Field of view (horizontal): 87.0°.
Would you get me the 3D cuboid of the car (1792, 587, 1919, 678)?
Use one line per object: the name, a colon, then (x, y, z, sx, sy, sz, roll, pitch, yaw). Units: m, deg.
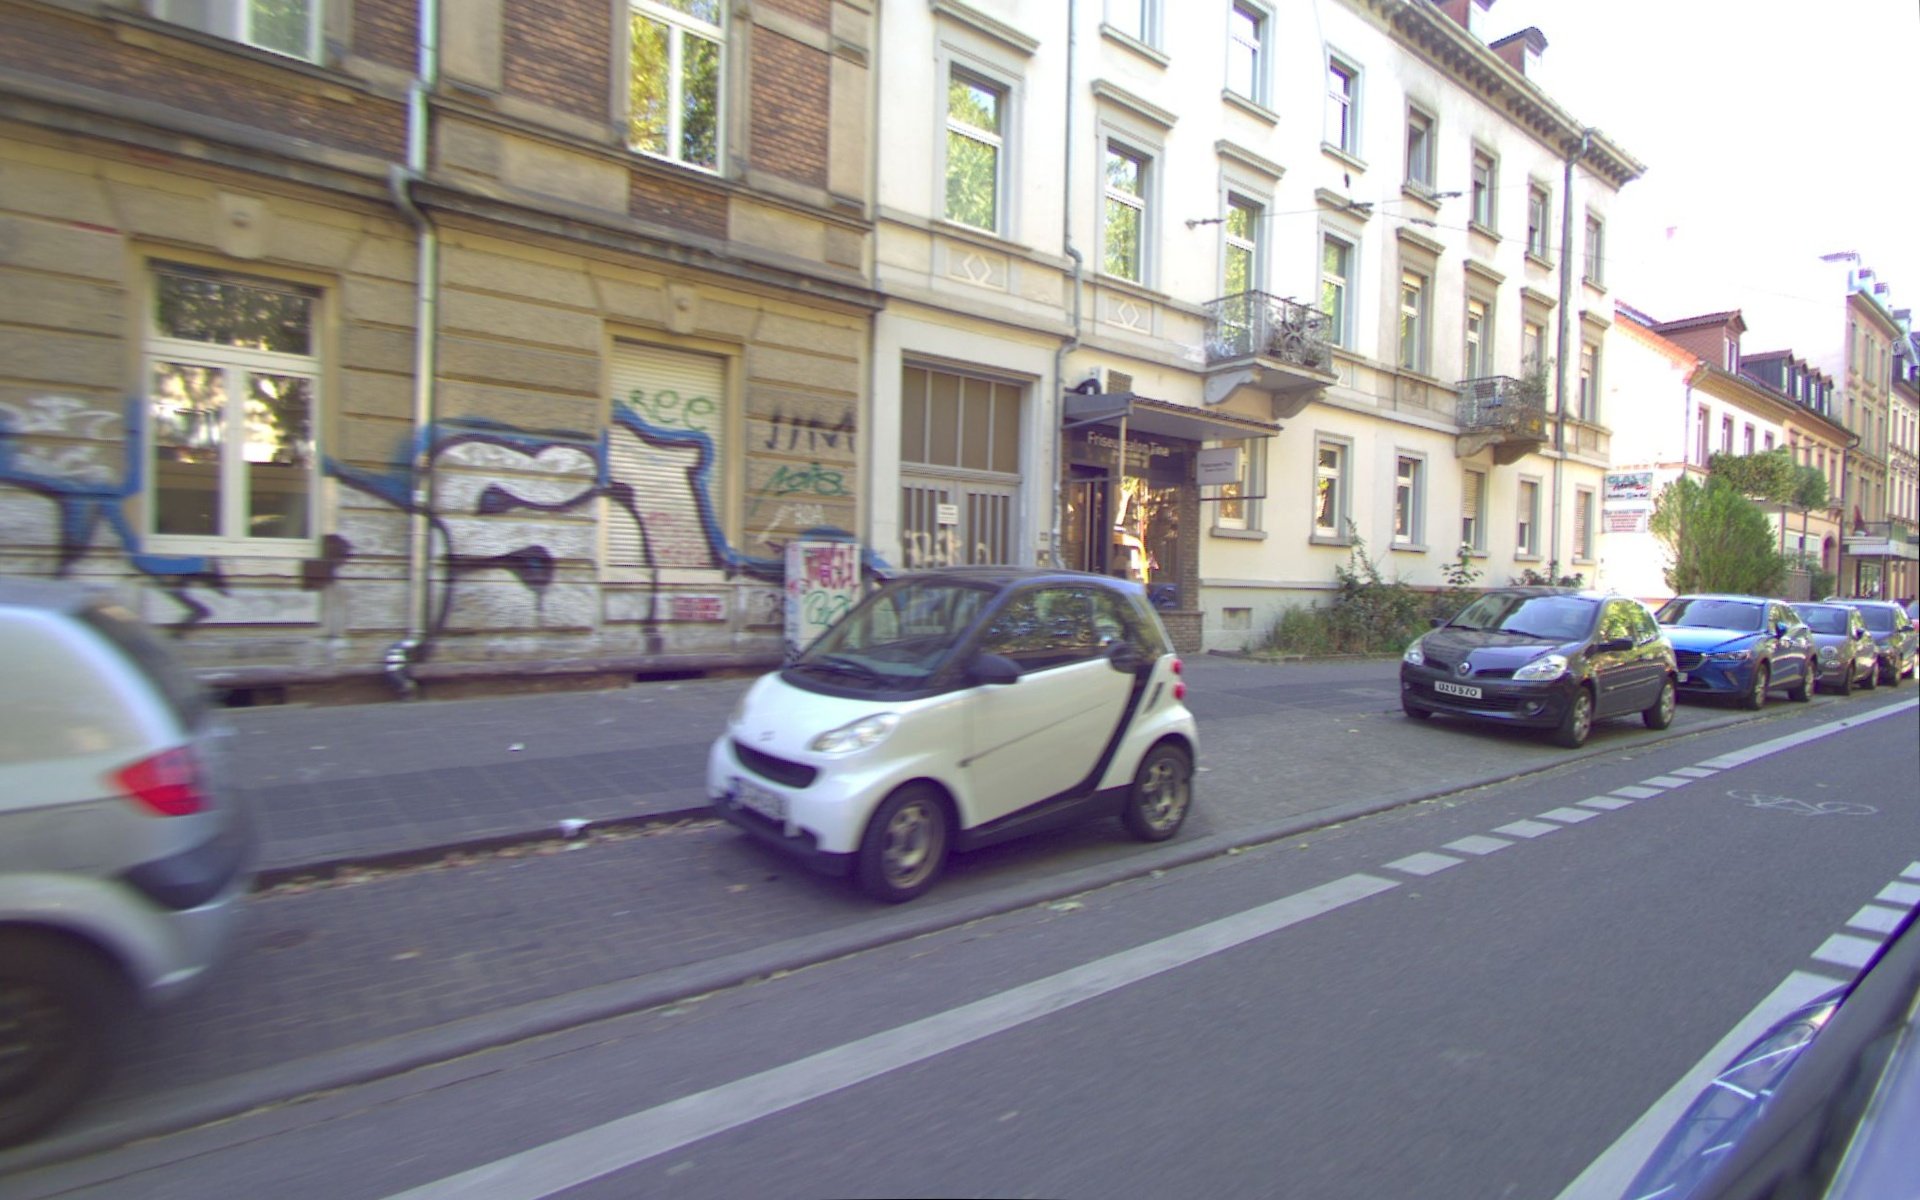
car: (18.323, 0.577, 20.276, 3.618, 1.587, 1.731, 0, 3, -37)

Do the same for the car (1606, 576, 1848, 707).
car: (11.178, 0.506, 14.681, 3.835, 1.523, 1.732, 0, 6, -37)

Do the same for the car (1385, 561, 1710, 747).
car: (6.344, 0.445, 10.786, 3.837, 1.523, 1.636, 0, 6, -39)

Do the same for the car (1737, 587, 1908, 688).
car: (15.024, 0.580, 17.589, 3.297, 1.524, 1.543, 0, 3, -37)

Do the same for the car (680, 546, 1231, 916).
car: (0.037, 0.527, 5.778, 2.769, 1.561, 1.515, 0, 3, -38)

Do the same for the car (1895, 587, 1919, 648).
car: (26.969, 0.493, 27.462, 3.618, 1.587, 1.704, 0, 3, -37)

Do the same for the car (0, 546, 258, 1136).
car: (-3.953, 0.595, 2.430, 3.672, 1.469, 1.611, 0, 4, -37)
